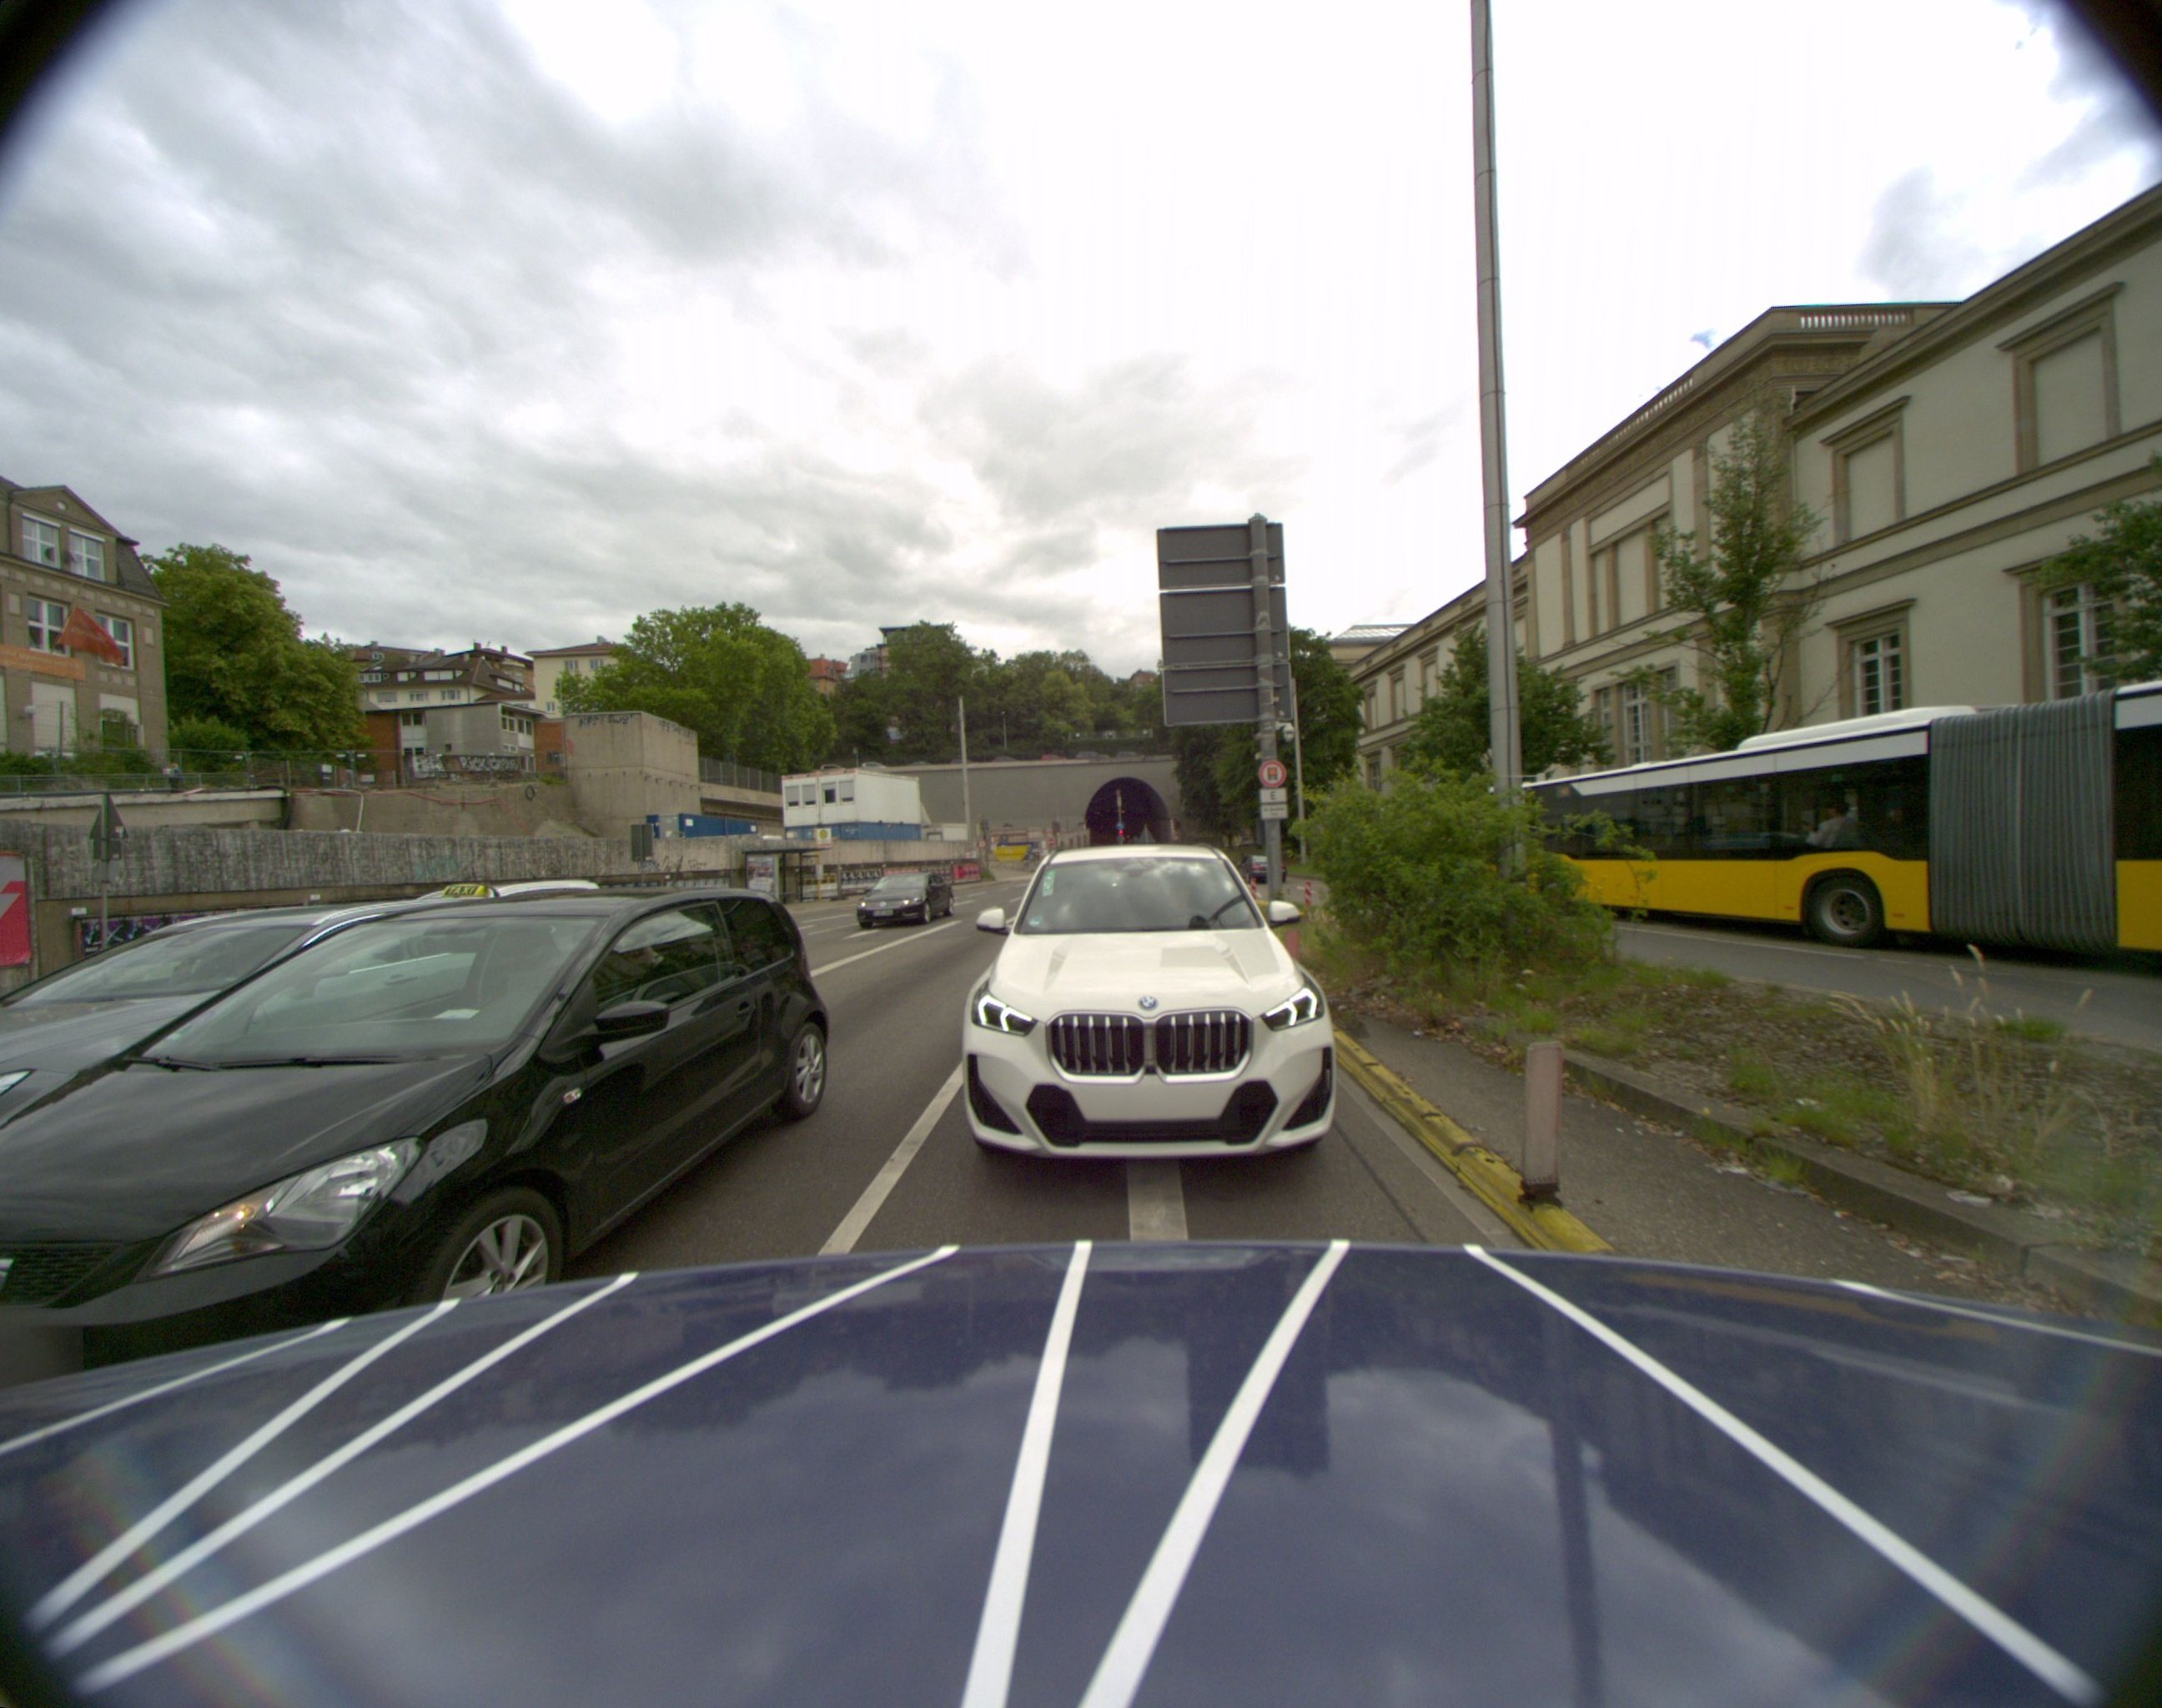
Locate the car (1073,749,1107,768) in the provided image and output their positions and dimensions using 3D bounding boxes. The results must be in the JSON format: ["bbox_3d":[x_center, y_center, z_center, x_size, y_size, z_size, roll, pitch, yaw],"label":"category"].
[{"bbox_3d":[1.123,-11.820,94.478,3.998,2.002,1.999,-2,1,-2],"label":"car"}]

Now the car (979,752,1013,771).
[{"bbox_3d":[-10.461,-11.393,94.001,3.998,2.002,1.999,-2,1,-2],"label":"car"}]

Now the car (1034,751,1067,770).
[{"bbox_3d":[-3.755,-11.642,94.394,3.998,2.002,1.999,-2,1,-2],"label":"car"}]

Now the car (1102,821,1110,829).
[{"bbox_3d":[5.496,-6.325,168.253,1.667,1.582,3.882,-1,0,2],"label":"car"}]

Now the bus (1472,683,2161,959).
[{"bbox_3d":[11.184,-0.392,13.720,2.853,3.096,9.746,-3,0,-2],"label":"bus"}]

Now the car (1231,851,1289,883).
[{"bbox_3d":[8.930,0.609,38.221,1.705,1.463,4.629,-3,0,-1],"label":"car"}]

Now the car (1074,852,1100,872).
[{"bbox_3d":[0.538,0.622,61.687,1.730,1.435,4.001,-3,0,5],"label":"car"}]

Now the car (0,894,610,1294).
[{"bbox_3d":[-5.759,1.243,5.281,1.826,1.562,4.654,-3,0,3],"label":"car"}]

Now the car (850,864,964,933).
[{"bbox_3d":[-4.699,1.147,21.295,1.704,1.550,4.552,-3,0,5],"label":"car"}]

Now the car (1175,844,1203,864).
[{"bbox_3d":[9.213,-0.033,65.071,1.701,1.580,3.882,-3,0,-1],"label":"car"}]

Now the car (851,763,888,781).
[{"bbox_3d":[-25.992,-10.066,93.369,3.998,2.002,1.999,-2,1,-5],"label":"car"}]

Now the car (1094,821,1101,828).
[{"bbox_3d":[4.284,-7.423,192.269,1.667,1.582,3.882,-1,0,2],"label":"car"}]

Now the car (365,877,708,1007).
[{"bbox_3d":[-8.645,1.297,12.696,1.703,1.550,4.555,-3,0,14],"label":"car"}]

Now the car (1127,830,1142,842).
[{"bbox_3d":[7.496,-2.498,106.648,1.711,1.505,4.287,0,0,-3],"label":"car"}]

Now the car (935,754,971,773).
[{"bbox_3d":[-15.780,-11.198,93.891,3.998,2.002,1.999,-2,1,-2],"label":"car"}]

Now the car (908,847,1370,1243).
[{"bbox_3d":[0.303,0.802,5.112,1.848,1.581,3.882,-3,0,2],"label":"car"}]

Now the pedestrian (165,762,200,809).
[{"bbox_3d":[-39.627,-3.021,33.520,0.646,2.002,0.666,-2,1,-3],"label":"pedestrian"}]

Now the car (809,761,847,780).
[{"bbox_3d":[-31.041,-10.253,93.306,3.998,2.002,1.999,-2,1,-5],"label":"car"}]

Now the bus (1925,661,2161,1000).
[{"bbox_3d":[11.264,-0.268,4.273,2.853,3.096,9.121,-3,0,0],"label":"bus"}]

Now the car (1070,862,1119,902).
[{"bbox_3d":[0.509,1.042,29.658,1.728,1.310,4.000,-3,0,1],"label":"car"}]

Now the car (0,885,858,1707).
[{"bbox_3d":[-2.498,1.006,3.402,1.667,1.487,3.882,-3,0,2],"label":"car"}]
